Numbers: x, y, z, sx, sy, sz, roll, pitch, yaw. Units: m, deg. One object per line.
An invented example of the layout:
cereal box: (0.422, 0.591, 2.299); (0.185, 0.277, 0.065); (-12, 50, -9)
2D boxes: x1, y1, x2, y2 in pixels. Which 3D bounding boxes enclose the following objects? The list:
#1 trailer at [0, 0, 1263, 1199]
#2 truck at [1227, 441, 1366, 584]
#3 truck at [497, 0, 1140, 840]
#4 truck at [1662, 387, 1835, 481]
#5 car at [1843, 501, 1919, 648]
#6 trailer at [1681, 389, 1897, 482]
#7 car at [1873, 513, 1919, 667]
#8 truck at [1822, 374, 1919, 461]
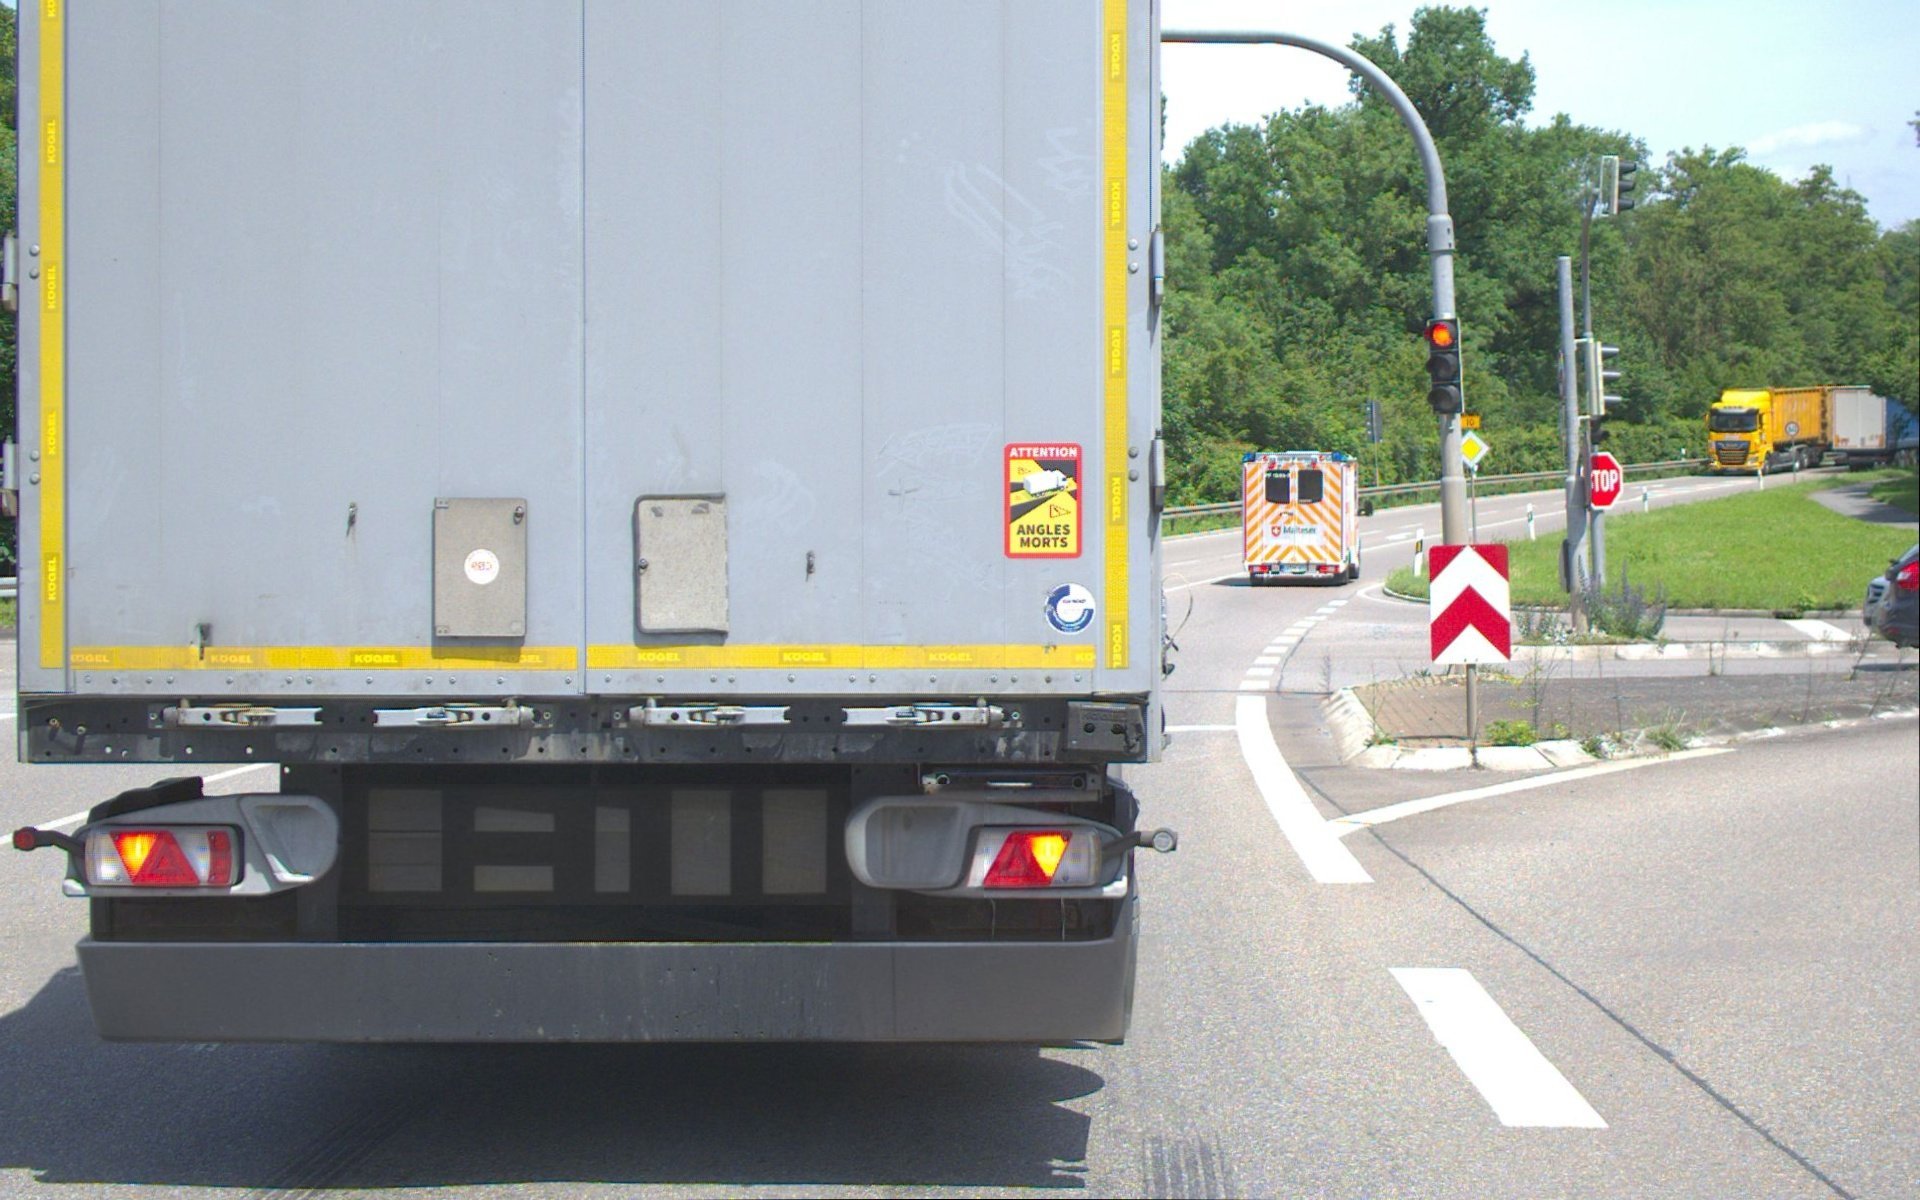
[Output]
trailer: (-0.748, -0.823, 13.449); (3.052, 4.020, 12.559); (0, 1, 1)
truck: (7.042, -1.765, 71.347); (2.494, 2.718, 6.028); (0, -1, 9)
truck: (-0.590, -0.937, 19.704); (3.038, 4.020, 6.629); (0, 1, 1)
truck: (38.332, -8.018, 166.739); (5.019, 4.347, 11.746); (1, 2, 30)
car: (12.936, -0.274, 40.919); (4.428, 1.712, 2.000); (0, -1, 5)
trailer: (42.063, -8.240, 173.398); (5.019, 4.347, 20.805); (1, 2, 30)
car: (11.117, -0.074, 33.494); (4.247, 1.486, 1.998); (0, -1, 16)
truck: (44.681, -8.776, 166.928); (3.183, 4.015, 11.730); (1, 2, 26)
